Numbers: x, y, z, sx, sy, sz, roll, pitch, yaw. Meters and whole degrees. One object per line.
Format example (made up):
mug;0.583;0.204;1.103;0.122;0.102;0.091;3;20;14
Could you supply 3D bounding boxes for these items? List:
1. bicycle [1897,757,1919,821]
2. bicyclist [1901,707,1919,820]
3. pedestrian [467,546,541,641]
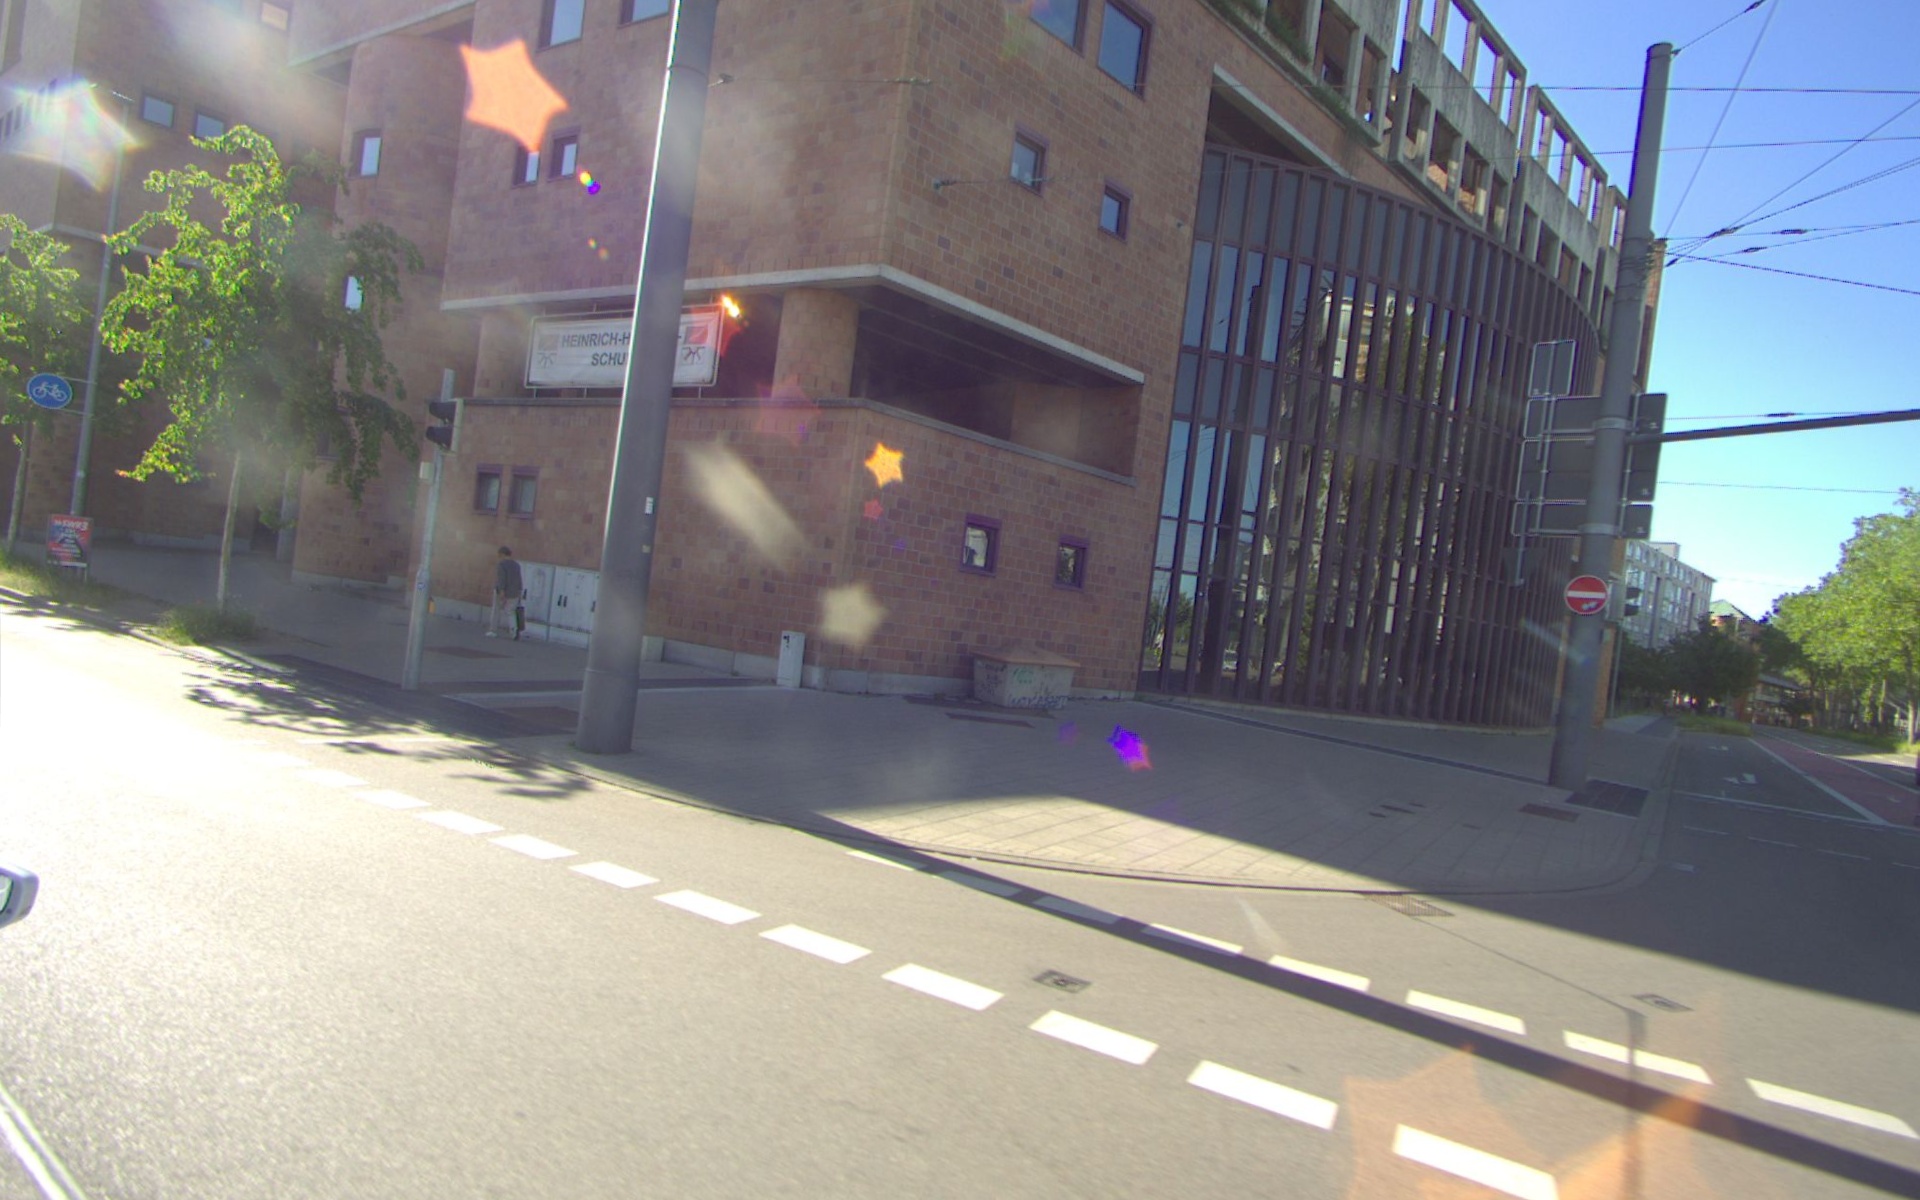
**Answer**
bicycle;16.606;3.266;16.991;0.662;1.007;1.671;7;0;29
bicyclist;16.821;2.843;17.292;0.639;1.907;0.606;7;1;29
pedestrian;-8.190;-0.117;18.075;0.970;1.582;0.618;7;1;32
